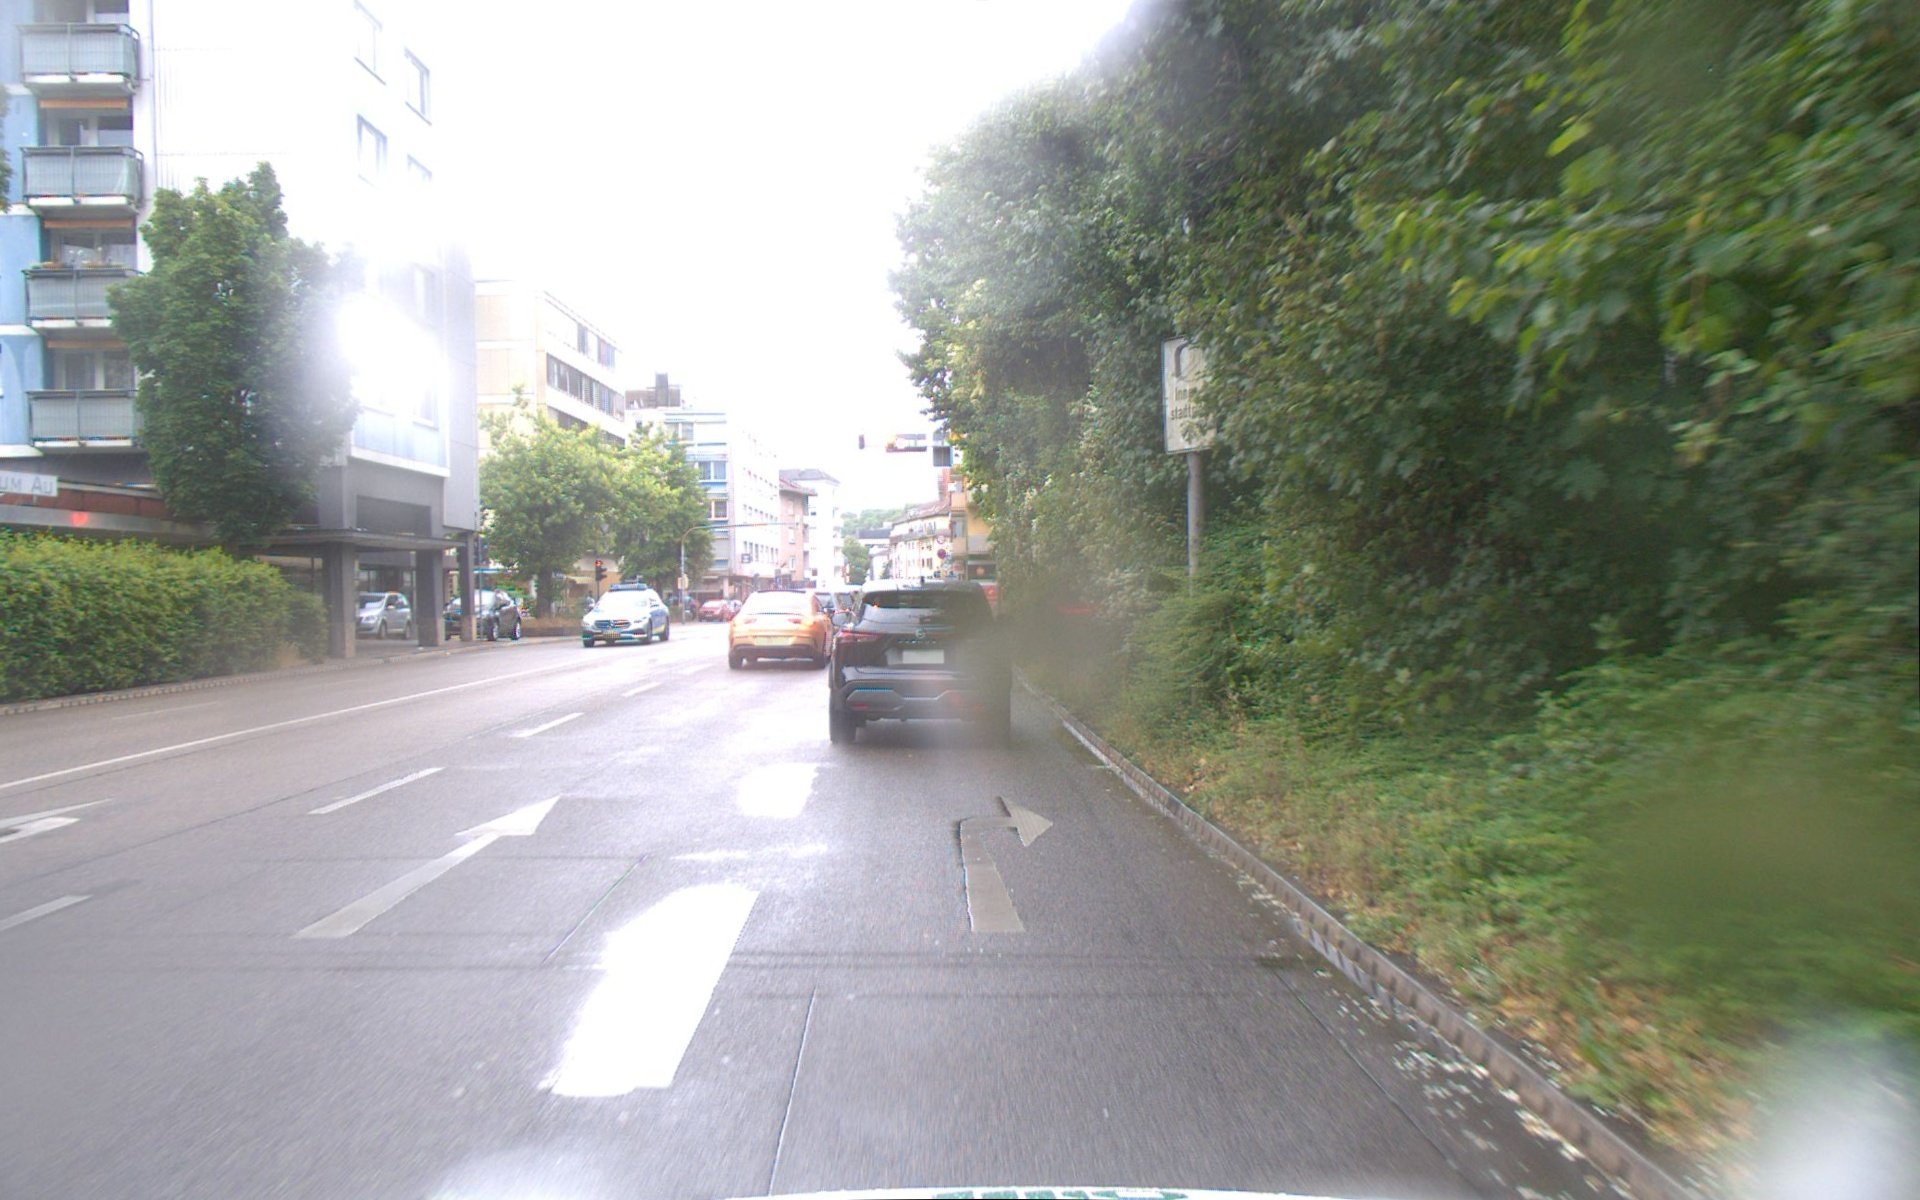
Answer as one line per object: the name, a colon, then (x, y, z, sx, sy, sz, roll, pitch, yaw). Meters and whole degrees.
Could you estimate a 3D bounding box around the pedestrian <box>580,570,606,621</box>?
pedestrian: (-15.230, -0.174, 68.726, 0.923, 2.048, 0.884, -3, 0, -10)

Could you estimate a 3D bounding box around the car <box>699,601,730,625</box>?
car: (-16.533, 0.871, 111.713, 1.639, 1.504, 3.606, -3, 0, -3)

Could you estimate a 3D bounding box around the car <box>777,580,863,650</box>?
car: (-3.237, 0.317, 38.821, 1.708, 1.513, 4.160, -2, 0, -1)

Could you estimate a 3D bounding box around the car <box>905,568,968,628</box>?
car: (-0.818, -0.097, 60.452, 1.952, 2.049, 4.002, -1, 1, 3)

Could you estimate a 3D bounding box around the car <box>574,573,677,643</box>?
car: (-9.350, 0.201, 46.633, 1.953, 1.780, 4.806, -2, 0, -1)

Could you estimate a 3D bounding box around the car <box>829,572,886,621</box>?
car: (-3.286, -0.143, 53.548, 1.732, 1.469, 3.998, -1, 1, -2)

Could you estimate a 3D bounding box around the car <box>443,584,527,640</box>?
car: (-15.378, 0.370, 53.734, 1.508, 1.735, 4.287, 0, 0, -1)

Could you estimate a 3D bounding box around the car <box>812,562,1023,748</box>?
car: (-0.463, 0.483, 17.271, 1.920, 1.681, 3.999, -1, 1, -2)

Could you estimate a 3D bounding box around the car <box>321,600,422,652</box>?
car: (-20.202, 0.867, 56.940, 1.953, 1.683, 4.509, -1, 0, -2)

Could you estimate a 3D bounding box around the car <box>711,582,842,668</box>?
car: (-3.435, 0.423, 31.807, 2.024, 1.489, 4.586, -1, 1, -1)
